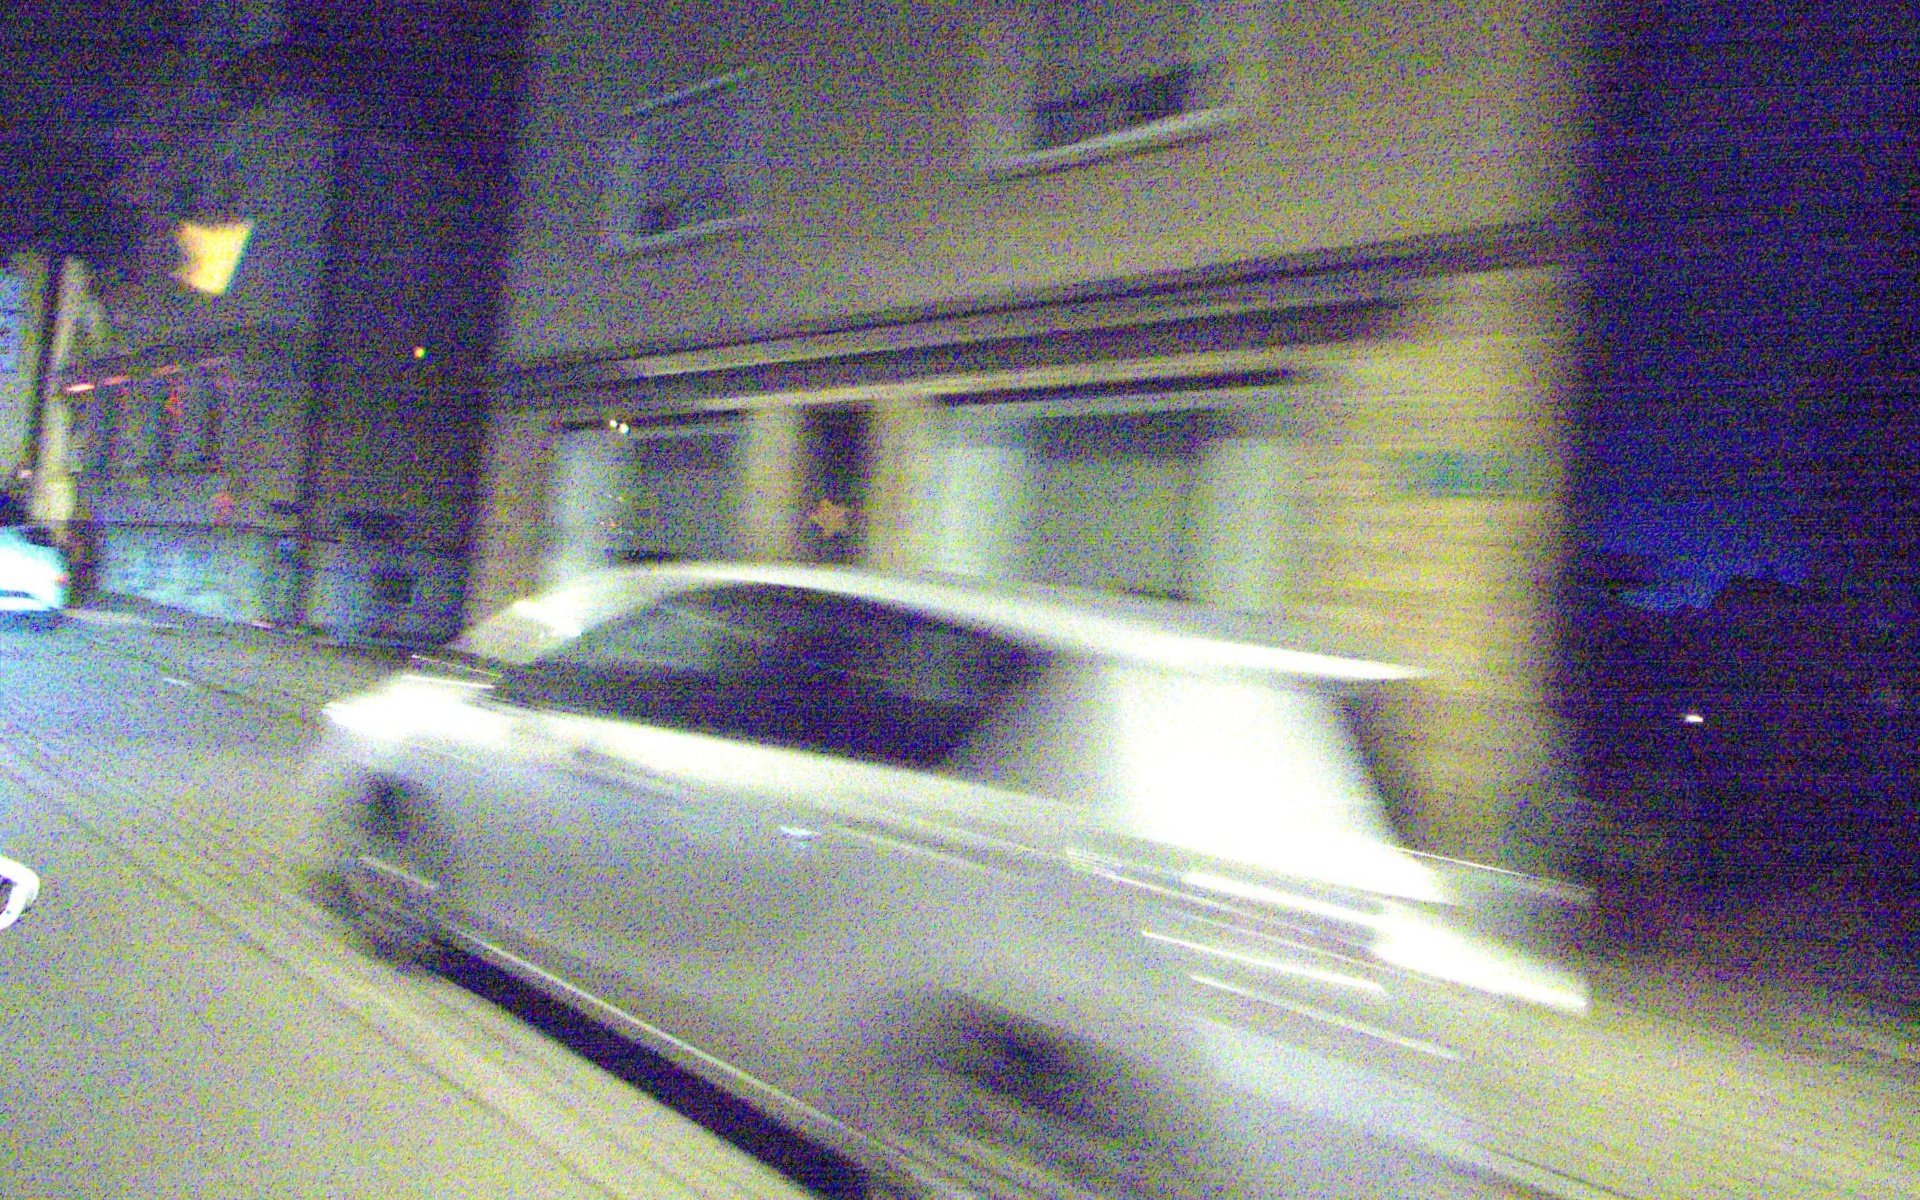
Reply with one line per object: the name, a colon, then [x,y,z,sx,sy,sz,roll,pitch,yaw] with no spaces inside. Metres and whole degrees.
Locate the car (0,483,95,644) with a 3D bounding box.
car: [-11.308,-0.579,10.814,3.978,1.573,1.861,7,1,32]

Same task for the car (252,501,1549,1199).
car: [-0.545,0.671,3.551,4.289,1.617,1.738,7,1,35]
